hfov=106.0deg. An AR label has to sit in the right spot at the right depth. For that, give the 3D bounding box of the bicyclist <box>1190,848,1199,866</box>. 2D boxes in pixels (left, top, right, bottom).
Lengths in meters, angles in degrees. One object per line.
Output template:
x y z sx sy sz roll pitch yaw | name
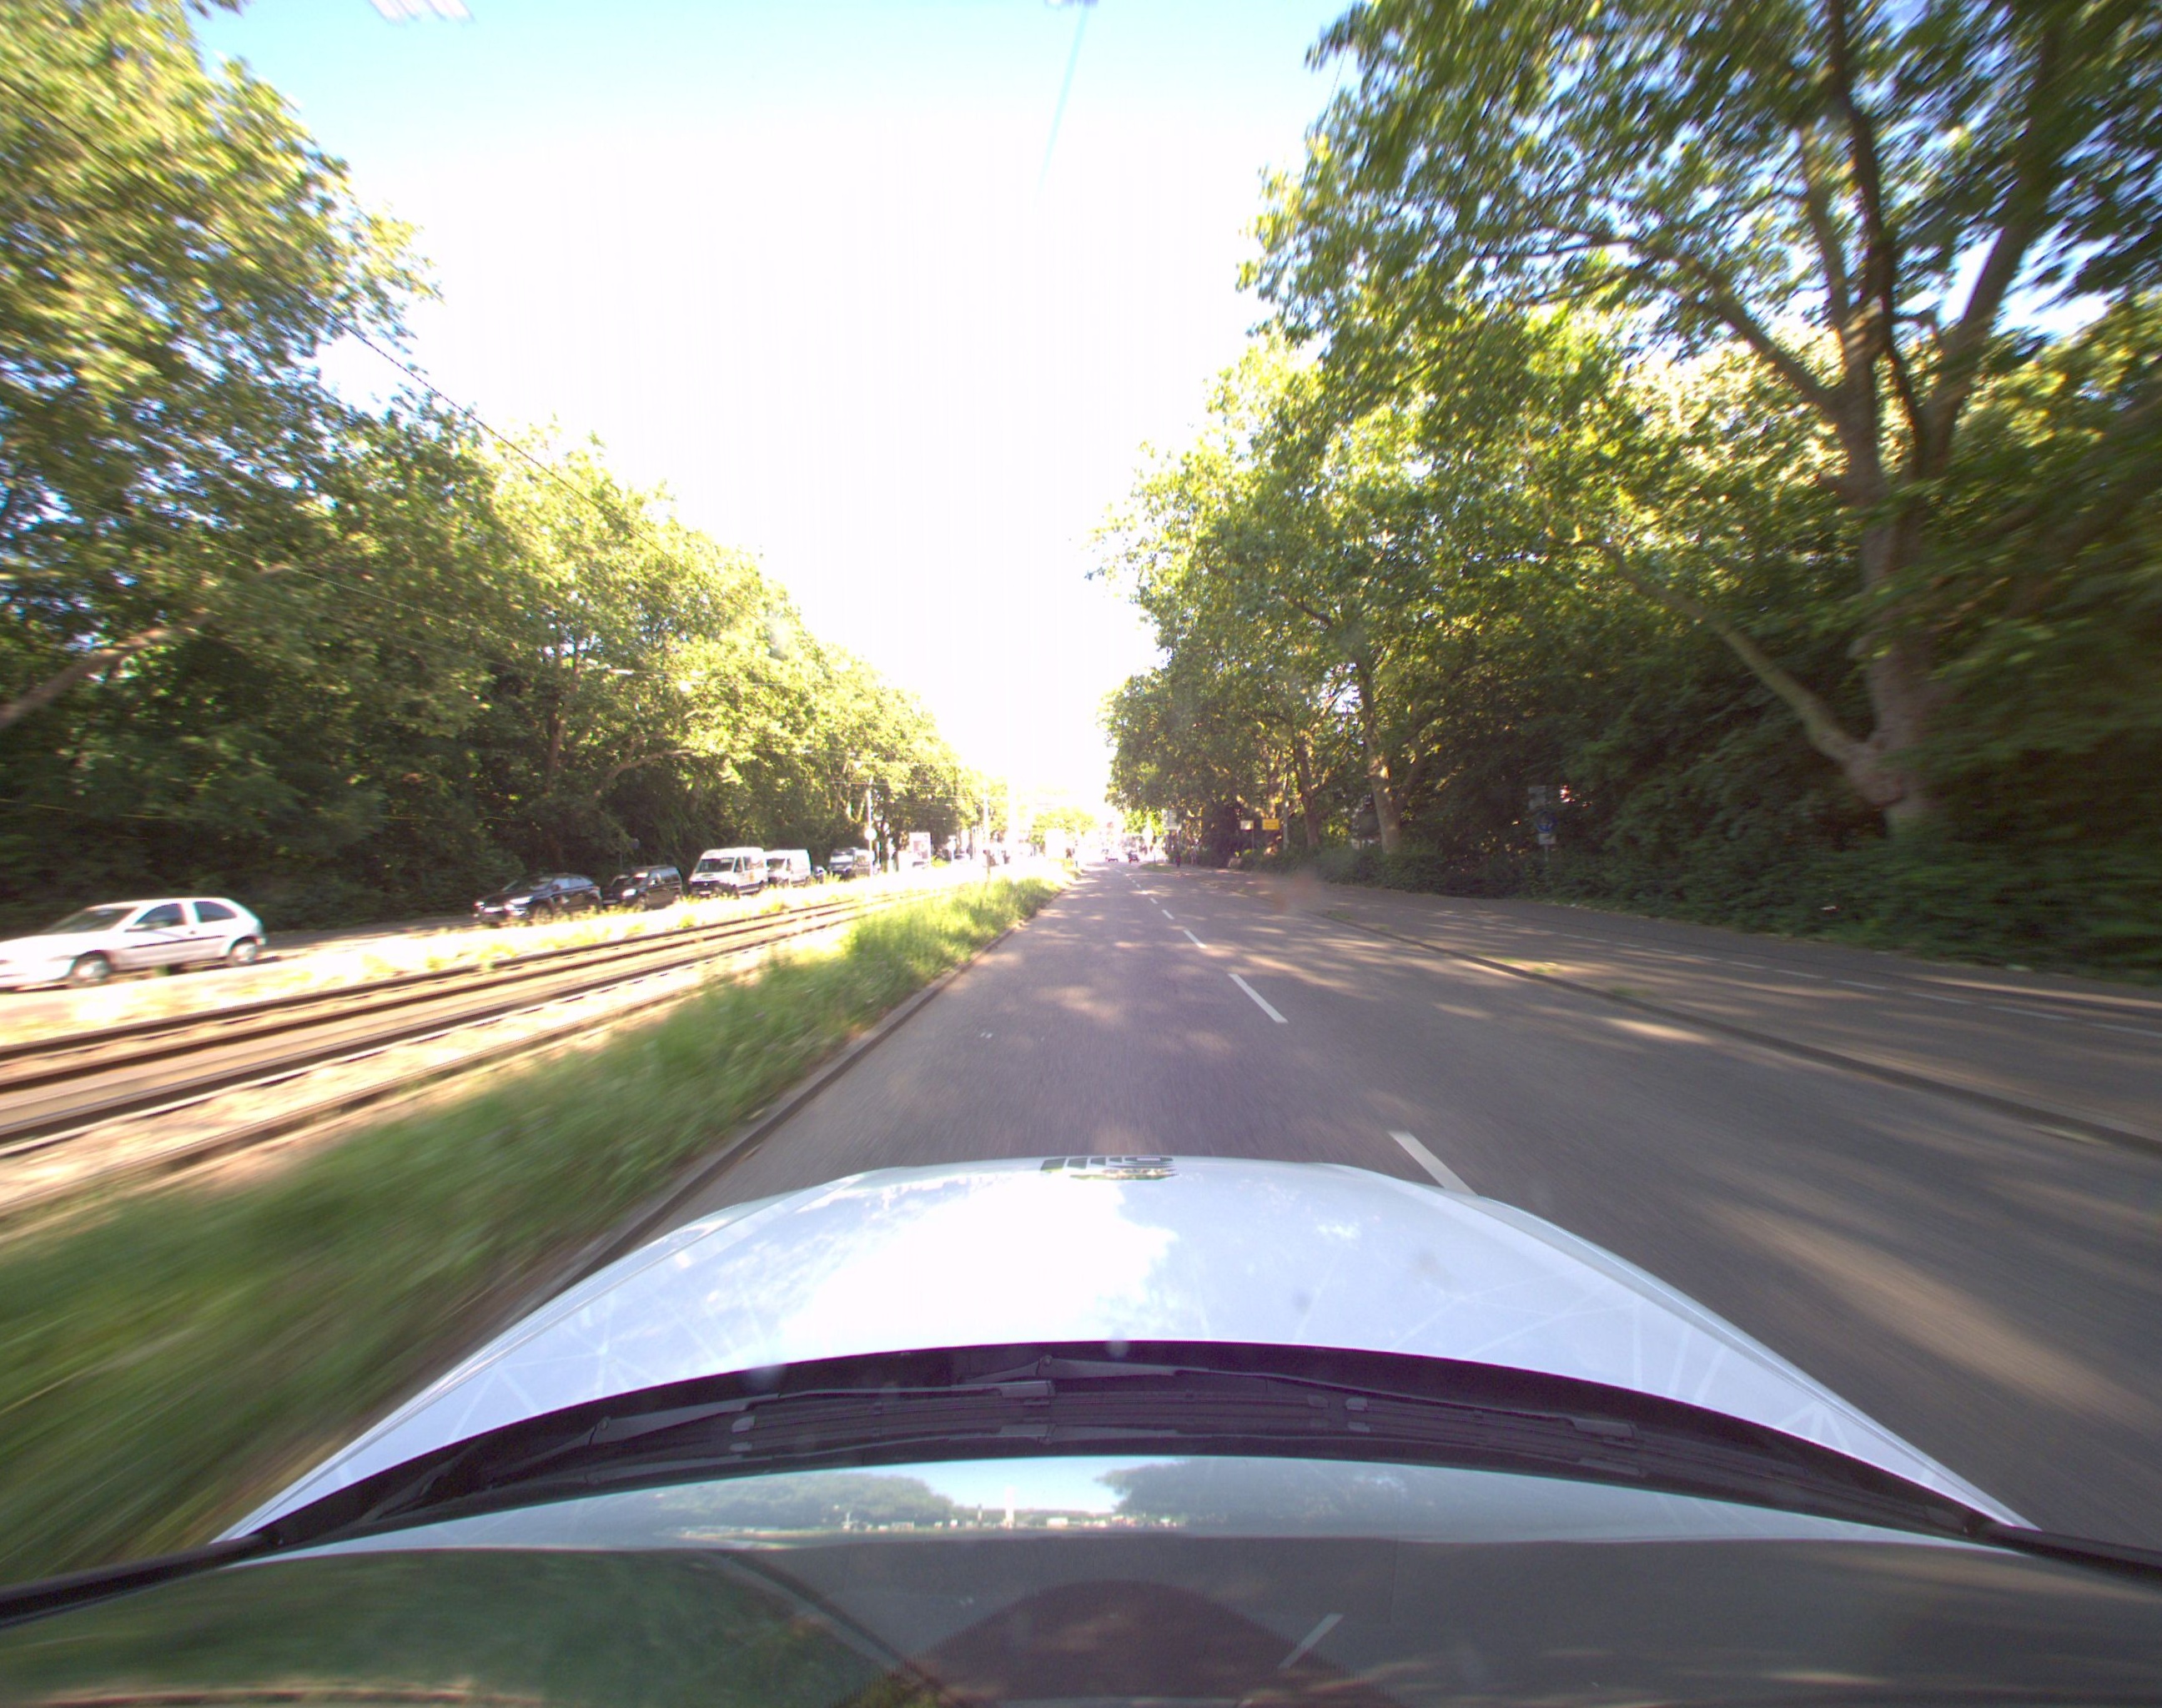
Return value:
10.710 0.300 76.890 0.697 1.728 1.079 -1 0 -1 | bicyclist

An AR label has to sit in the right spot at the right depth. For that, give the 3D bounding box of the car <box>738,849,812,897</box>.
-18.055 1.093 48.371 2.178 2.521 6.265 -3 -1 -3 | car

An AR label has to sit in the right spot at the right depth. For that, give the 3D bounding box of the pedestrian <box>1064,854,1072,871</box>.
-1.210 0.778 75.166 0.515 1.568 0.511 -4 -1 30 | pedestrian

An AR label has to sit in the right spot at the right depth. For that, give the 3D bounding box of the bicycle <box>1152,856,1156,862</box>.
14.351 0.944 160.286 0.497 1.075 1.800 0 -1 0 | bicycle

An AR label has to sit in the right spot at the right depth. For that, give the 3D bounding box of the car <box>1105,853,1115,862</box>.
5.548 0.672 157.225 1.794 1.638 4.044 -1 0 0 | car

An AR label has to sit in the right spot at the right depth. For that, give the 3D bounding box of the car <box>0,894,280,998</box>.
-17.206 1.567 14.675 1.734 1.437 3.849 -3 -1 -2 | car

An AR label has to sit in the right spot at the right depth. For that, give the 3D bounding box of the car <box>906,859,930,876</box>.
-17.346 1.390 86.827 1.898 1.652 3.968 -3 -1 -3 | car

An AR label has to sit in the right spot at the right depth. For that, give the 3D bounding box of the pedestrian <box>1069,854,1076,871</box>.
-0.772 0.819 76.355 0.587 1.519 0.514 -3 -1 1 | pedestrian

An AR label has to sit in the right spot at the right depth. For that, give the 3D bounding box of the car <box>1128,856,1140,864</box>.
9.396 1.018 144.744 1.794 1.439 4.045 0 0 0 | car

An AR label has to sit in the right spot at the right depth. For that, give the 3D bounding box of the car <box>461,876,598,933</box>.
-17.510 1.547 26.083 1.734 1.555 3.879 -3 -1 -2 | car

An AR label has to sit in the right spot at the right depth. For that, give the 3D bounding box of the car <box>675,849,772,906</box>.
-17.644 1.103 40.580 2.177 2.521 6.046 -3 -1 -2 | car

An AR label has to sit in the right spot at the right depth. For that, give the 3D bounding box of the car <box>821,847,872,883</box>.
-18.178 0.842 63.475 2.177 2.521 6.029 -3 -1 -1 | car

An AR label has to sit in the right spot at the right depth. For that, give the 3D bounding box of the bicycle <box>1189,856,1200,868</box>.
10.718 0.763 76.885 0.697 1.107 1.929 -1 0 -1 | bicycle

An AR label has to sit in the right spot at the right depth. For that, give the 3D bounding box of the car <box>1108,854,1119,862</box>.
5.946 0.758 149.776 1.923 1.472 4.854 -1 0 0 | car

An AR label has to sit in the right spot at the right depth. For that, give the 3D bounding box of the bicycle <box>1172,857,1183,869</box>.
8.864 0.810 74.922 0.763 1.107 1.800 -1 0 0 | bicycle

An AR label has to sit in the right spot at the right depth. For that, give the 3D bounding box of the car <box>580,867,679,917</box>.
-17.747 1.452 32.235 1.734 1.728 3.879 -3 -1 -2 | car

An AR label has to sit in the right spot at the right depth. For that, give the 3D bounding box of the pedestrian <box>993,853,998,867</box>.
-11.168 0.799 106.414 0.645 1.772 0.650 0 -1 3 | pedestrian

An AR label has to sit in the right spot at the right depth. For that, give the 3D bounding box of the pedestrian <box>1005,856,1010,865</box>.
-11.004 1.025 122.133 0.668 1.324 0.756 -4 0 -2 | pedestrian

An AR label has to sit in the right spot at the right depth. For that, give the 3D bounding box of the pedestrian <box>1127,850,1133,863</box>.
6.882 0.359 114.343 0.655 1.871 0.677 -1 0 0 | pedestrian

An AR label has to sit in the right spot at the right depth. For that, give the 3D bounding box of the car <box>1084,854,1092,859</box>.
2.117 0.880 251.771 1.784 1.510 4.008 -1 -1 7 | car

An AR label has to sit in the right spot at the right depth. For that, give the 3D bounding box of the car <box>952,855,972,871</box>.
-16.970 1.231 115.992 2.061 2.124 5.087 -3 -1 -1 | car

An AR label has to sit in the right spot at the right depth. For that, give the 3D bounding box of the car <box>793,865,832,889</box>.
-18.250 1.550 55.484 1.648 1.512 3.262 -3 -1 -3 | car

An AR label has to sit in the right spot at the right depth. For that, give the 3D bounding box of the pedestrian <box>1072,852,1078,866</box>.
-0.746 0.597 99.199 0.740 1.694 0.791 0 0 1 | pedestrian

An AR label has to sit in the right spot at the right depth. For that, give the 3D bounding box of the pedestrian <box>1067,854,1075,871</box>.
-0.927 0.783 75.573 0.515 1.568 0.511 -4 -1 30 | pedestrian

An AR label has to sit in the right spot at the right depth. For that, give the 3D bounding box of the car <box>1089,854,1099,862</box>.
2.517 0.805 159.064 1.802 1.452 3.999 -1 0 0 | car

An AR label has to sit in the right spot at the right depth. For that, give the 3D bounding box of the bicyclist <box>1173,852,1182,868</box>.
8.859 0.563 74.928 0.764 1.513 0.650 -1 0 -1 | bicyclist

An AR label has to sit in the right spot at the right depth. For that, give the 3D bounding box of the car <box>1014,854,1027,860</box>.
-17.753 0.983 237.549 1.777 1.649 4.035 -1 0 29 | car
